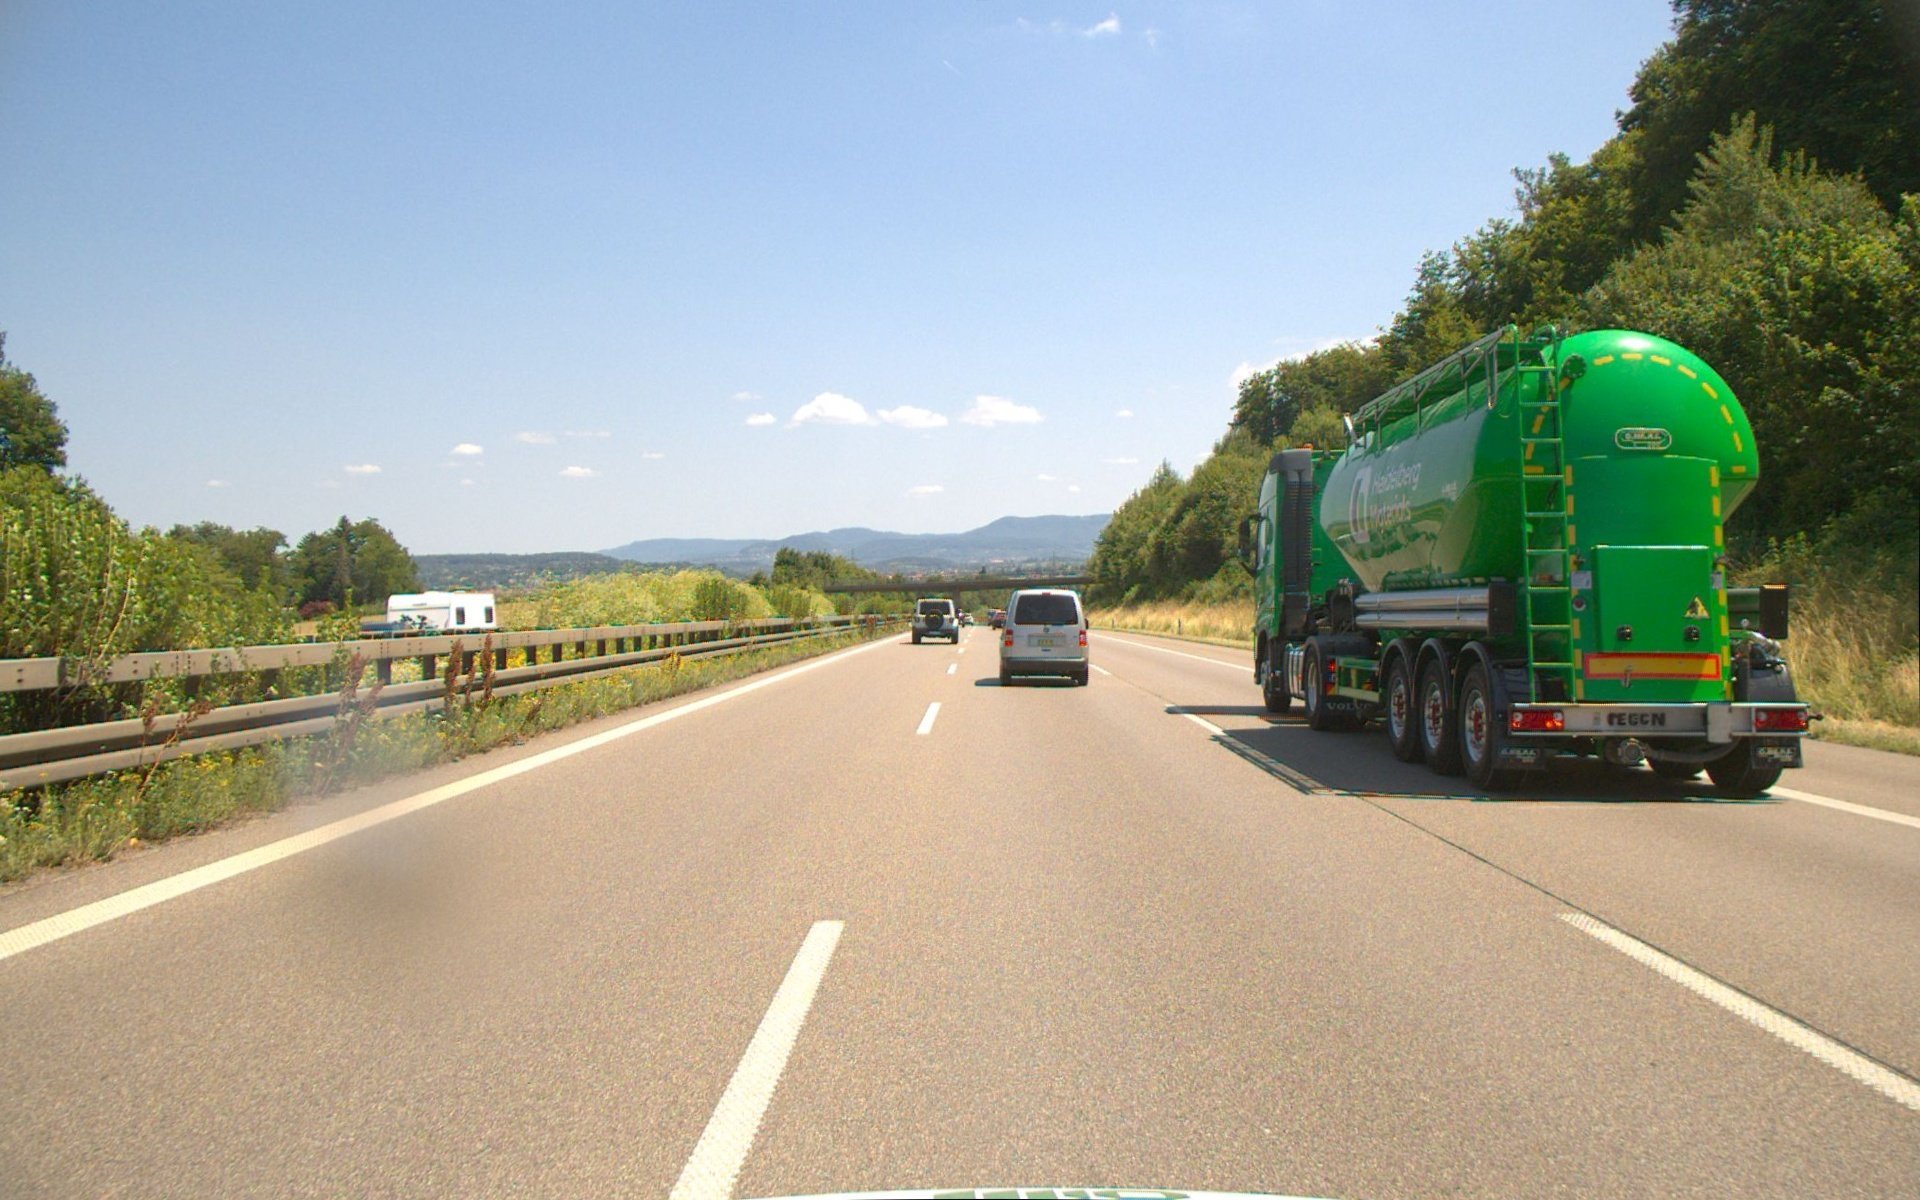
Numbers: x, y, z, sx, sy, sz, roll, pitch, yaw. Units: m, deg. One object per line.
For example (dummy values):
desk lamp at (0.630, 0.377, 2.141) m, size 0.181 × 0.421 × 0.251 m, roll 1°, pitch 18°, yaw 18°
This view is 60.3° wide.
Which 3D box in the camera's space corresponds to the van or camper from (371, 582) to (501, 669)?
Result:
van or camper at (-18.752, 0.837, 59.681) m, size 2.274 × 2.916 × 7.692 m, roll 0°, pitch 0°, yaw 0°

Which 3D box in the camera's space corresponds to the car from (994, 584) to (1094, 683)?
car at (1.648, 0.624, 33.827) m, size 1.710 × 1.861 × 4.800 m, roll 0°, pitch 0°, yaw -1°

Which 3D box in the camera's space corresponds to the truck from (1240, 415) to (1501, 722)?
truck at (5.655, -0.412, 23.572) m, size 2.458 × 3.909 × 4.892 m, roll 0°, pitch 0°, yaw -1°

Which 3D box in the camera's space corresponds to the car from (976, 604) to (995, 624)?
car at (2.714, 1.520, 176.851) m, size 1.952 × 2.049 × 4.000 m, roll 0°, pitch 0°, yaw 1°

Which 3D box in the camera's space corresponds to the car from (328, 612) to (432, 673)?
car at (-18.728, 1.335, 53.587) m, size 1.758 × 1.803 × 4.643 m, roll 0°, pitch 0°, yaw -1°

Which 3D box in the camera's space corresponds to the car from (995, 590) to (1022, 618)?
car at (3.695, 0.302, 126.568) m, size 1.952 × 2.049 × 4.000 m, roll 0°, pitch 0°, yaw 1°

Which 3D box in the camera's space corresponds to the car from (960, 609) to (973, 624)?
car at (0.847, 2.194, 221.874) m, size 1.663 × 2.049 × 3.823 m, roll 0°, pitch 0°, yaw 1°

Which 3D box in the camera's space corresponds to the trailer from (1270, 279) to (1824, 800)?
trailer at (5.617, -0.499, 18.296) m, size 2.534 × 4.098 × 10.471 m, roll 0°, pitch 0°, yaw 1°

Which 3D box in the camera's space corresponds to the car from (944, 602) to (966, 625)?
car at (-0.440, 1.261, 154.871) m, size 1.952 × 2.049 × 4.000 m, roll 0°, pitch 0°, yaw 1°

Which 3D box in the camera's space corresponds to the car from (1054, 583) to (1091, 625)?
car at (7.132, 0.241, 105.473) m, size 2.046 × 2.621 × 6.623 m, roll 0°, pitch 0°, yaw 2°

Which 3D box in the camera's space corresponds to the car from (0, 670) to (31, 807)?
car at (-15.625, 2.141, 24.152) m, size 1.863 × 2.049 × 3.999 m, roll 0°, pitch 0°, yaw -1°

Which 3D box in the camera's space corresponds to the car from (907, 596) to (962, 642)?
car at (-1.041, 0.778, 69.989) m, size 2.040 × 1.861 × 4.755 m, roll 0°, pitch 0°, yaw 2°
